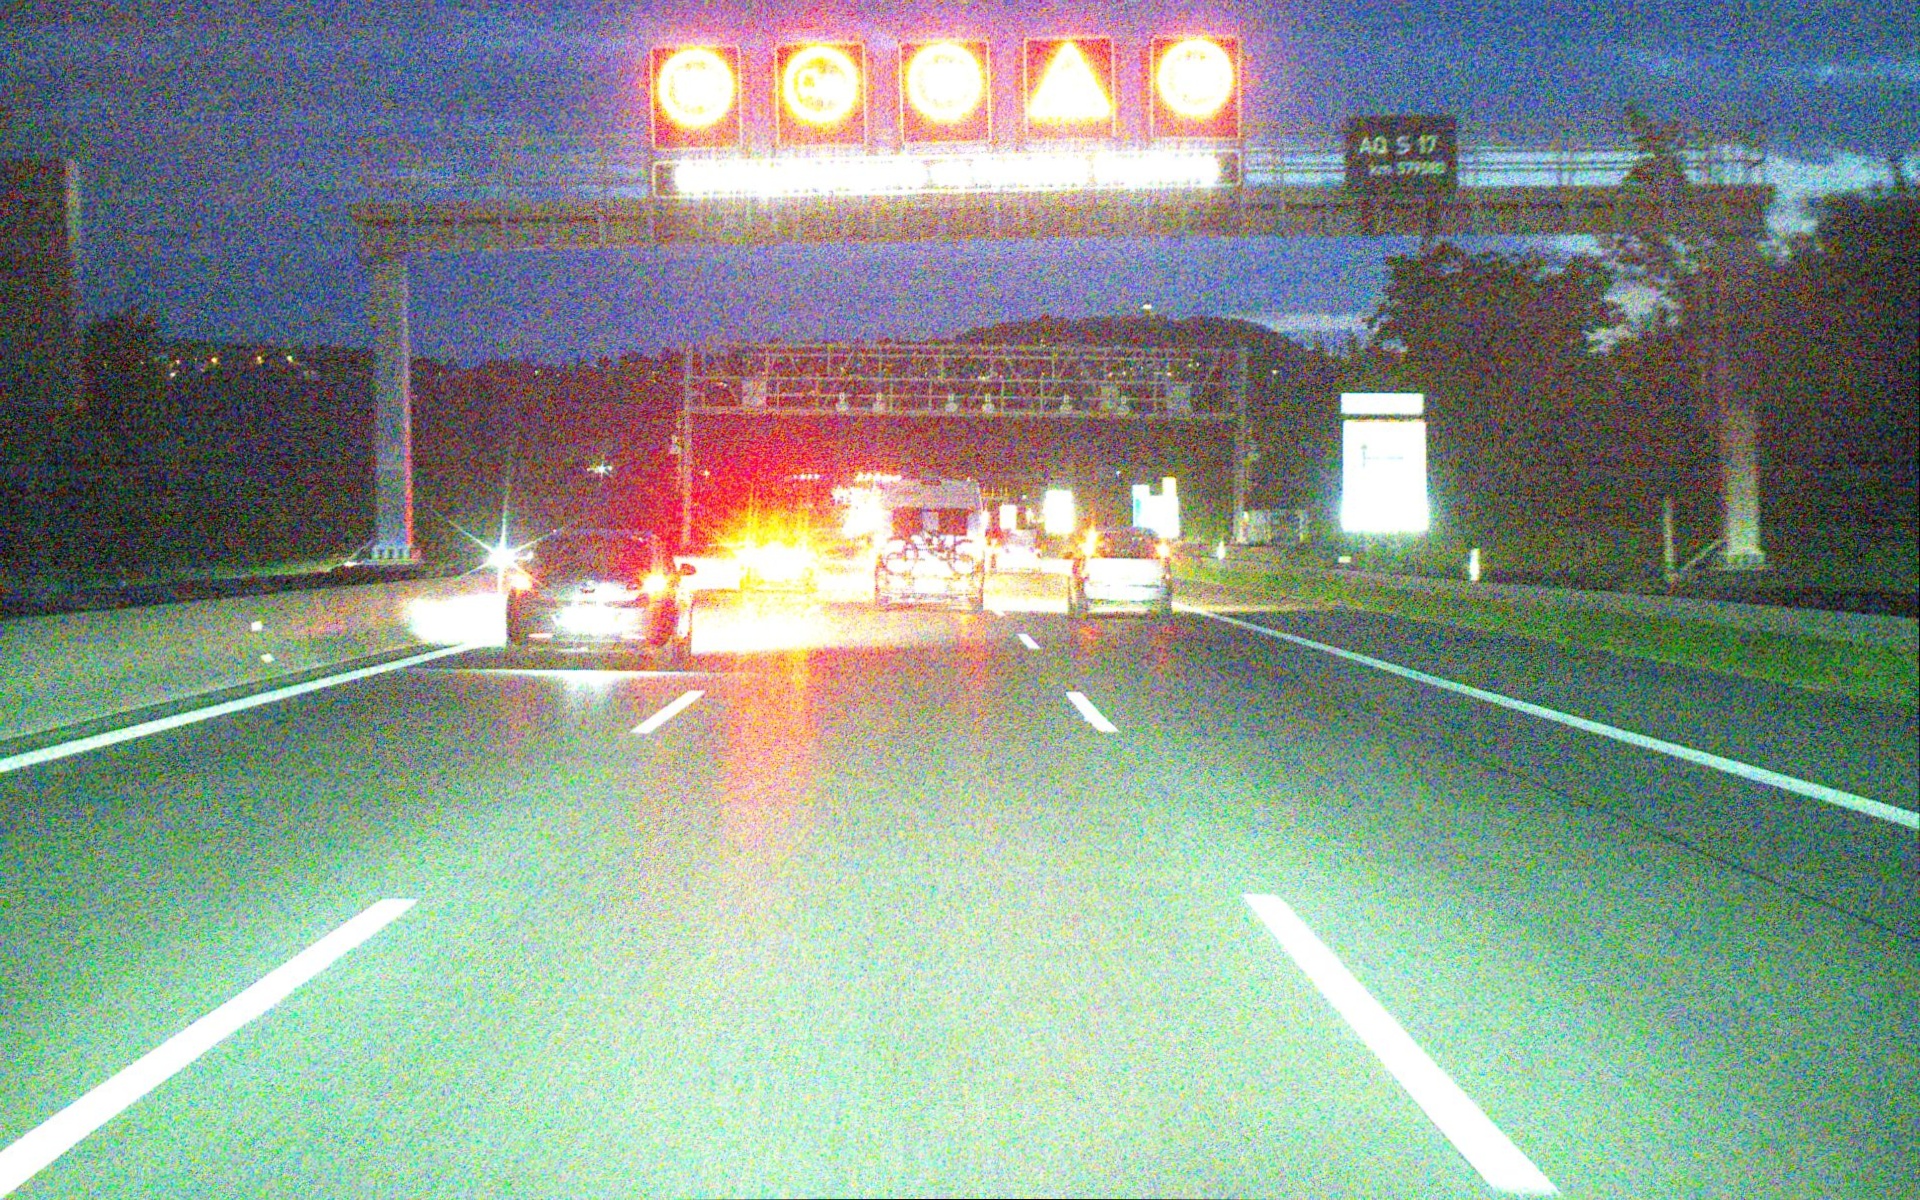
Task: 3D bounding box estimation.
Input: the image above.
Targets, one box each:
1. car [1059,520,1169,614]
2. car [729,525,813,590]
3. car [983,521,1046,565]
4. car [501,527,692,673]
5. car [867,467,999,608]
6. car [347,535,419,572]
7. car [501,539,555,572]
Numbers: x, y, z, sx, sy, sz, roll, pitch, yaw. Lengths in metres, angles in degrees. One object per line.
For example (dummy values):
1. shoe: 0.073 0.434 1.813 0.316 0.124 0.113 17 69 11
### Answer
1. car: 2.688 -0.609 60.782 1.646 1.591 4.510 0 1 -1
2. car: -4.429 -1.021 81.239 1.744 1.435 4.368 -1 2 0
3. car: 1.918 -2.046 123.032 2.163 1.558 4.723 0 1 0
4. car: -3.881 -0.038 37.187 1.793 1.464 3.773 1 2 -2
5. car: -0.502 -1.208 65.064 2.351 2.526 5.701 -1 2 0
6. car: -21.080 -1.726 125.805 1.903 1.278 4.350 -1 1 0
7. car: -21.037 -2.195 167.518 1.964 1.532 5.185 -1 1 0
